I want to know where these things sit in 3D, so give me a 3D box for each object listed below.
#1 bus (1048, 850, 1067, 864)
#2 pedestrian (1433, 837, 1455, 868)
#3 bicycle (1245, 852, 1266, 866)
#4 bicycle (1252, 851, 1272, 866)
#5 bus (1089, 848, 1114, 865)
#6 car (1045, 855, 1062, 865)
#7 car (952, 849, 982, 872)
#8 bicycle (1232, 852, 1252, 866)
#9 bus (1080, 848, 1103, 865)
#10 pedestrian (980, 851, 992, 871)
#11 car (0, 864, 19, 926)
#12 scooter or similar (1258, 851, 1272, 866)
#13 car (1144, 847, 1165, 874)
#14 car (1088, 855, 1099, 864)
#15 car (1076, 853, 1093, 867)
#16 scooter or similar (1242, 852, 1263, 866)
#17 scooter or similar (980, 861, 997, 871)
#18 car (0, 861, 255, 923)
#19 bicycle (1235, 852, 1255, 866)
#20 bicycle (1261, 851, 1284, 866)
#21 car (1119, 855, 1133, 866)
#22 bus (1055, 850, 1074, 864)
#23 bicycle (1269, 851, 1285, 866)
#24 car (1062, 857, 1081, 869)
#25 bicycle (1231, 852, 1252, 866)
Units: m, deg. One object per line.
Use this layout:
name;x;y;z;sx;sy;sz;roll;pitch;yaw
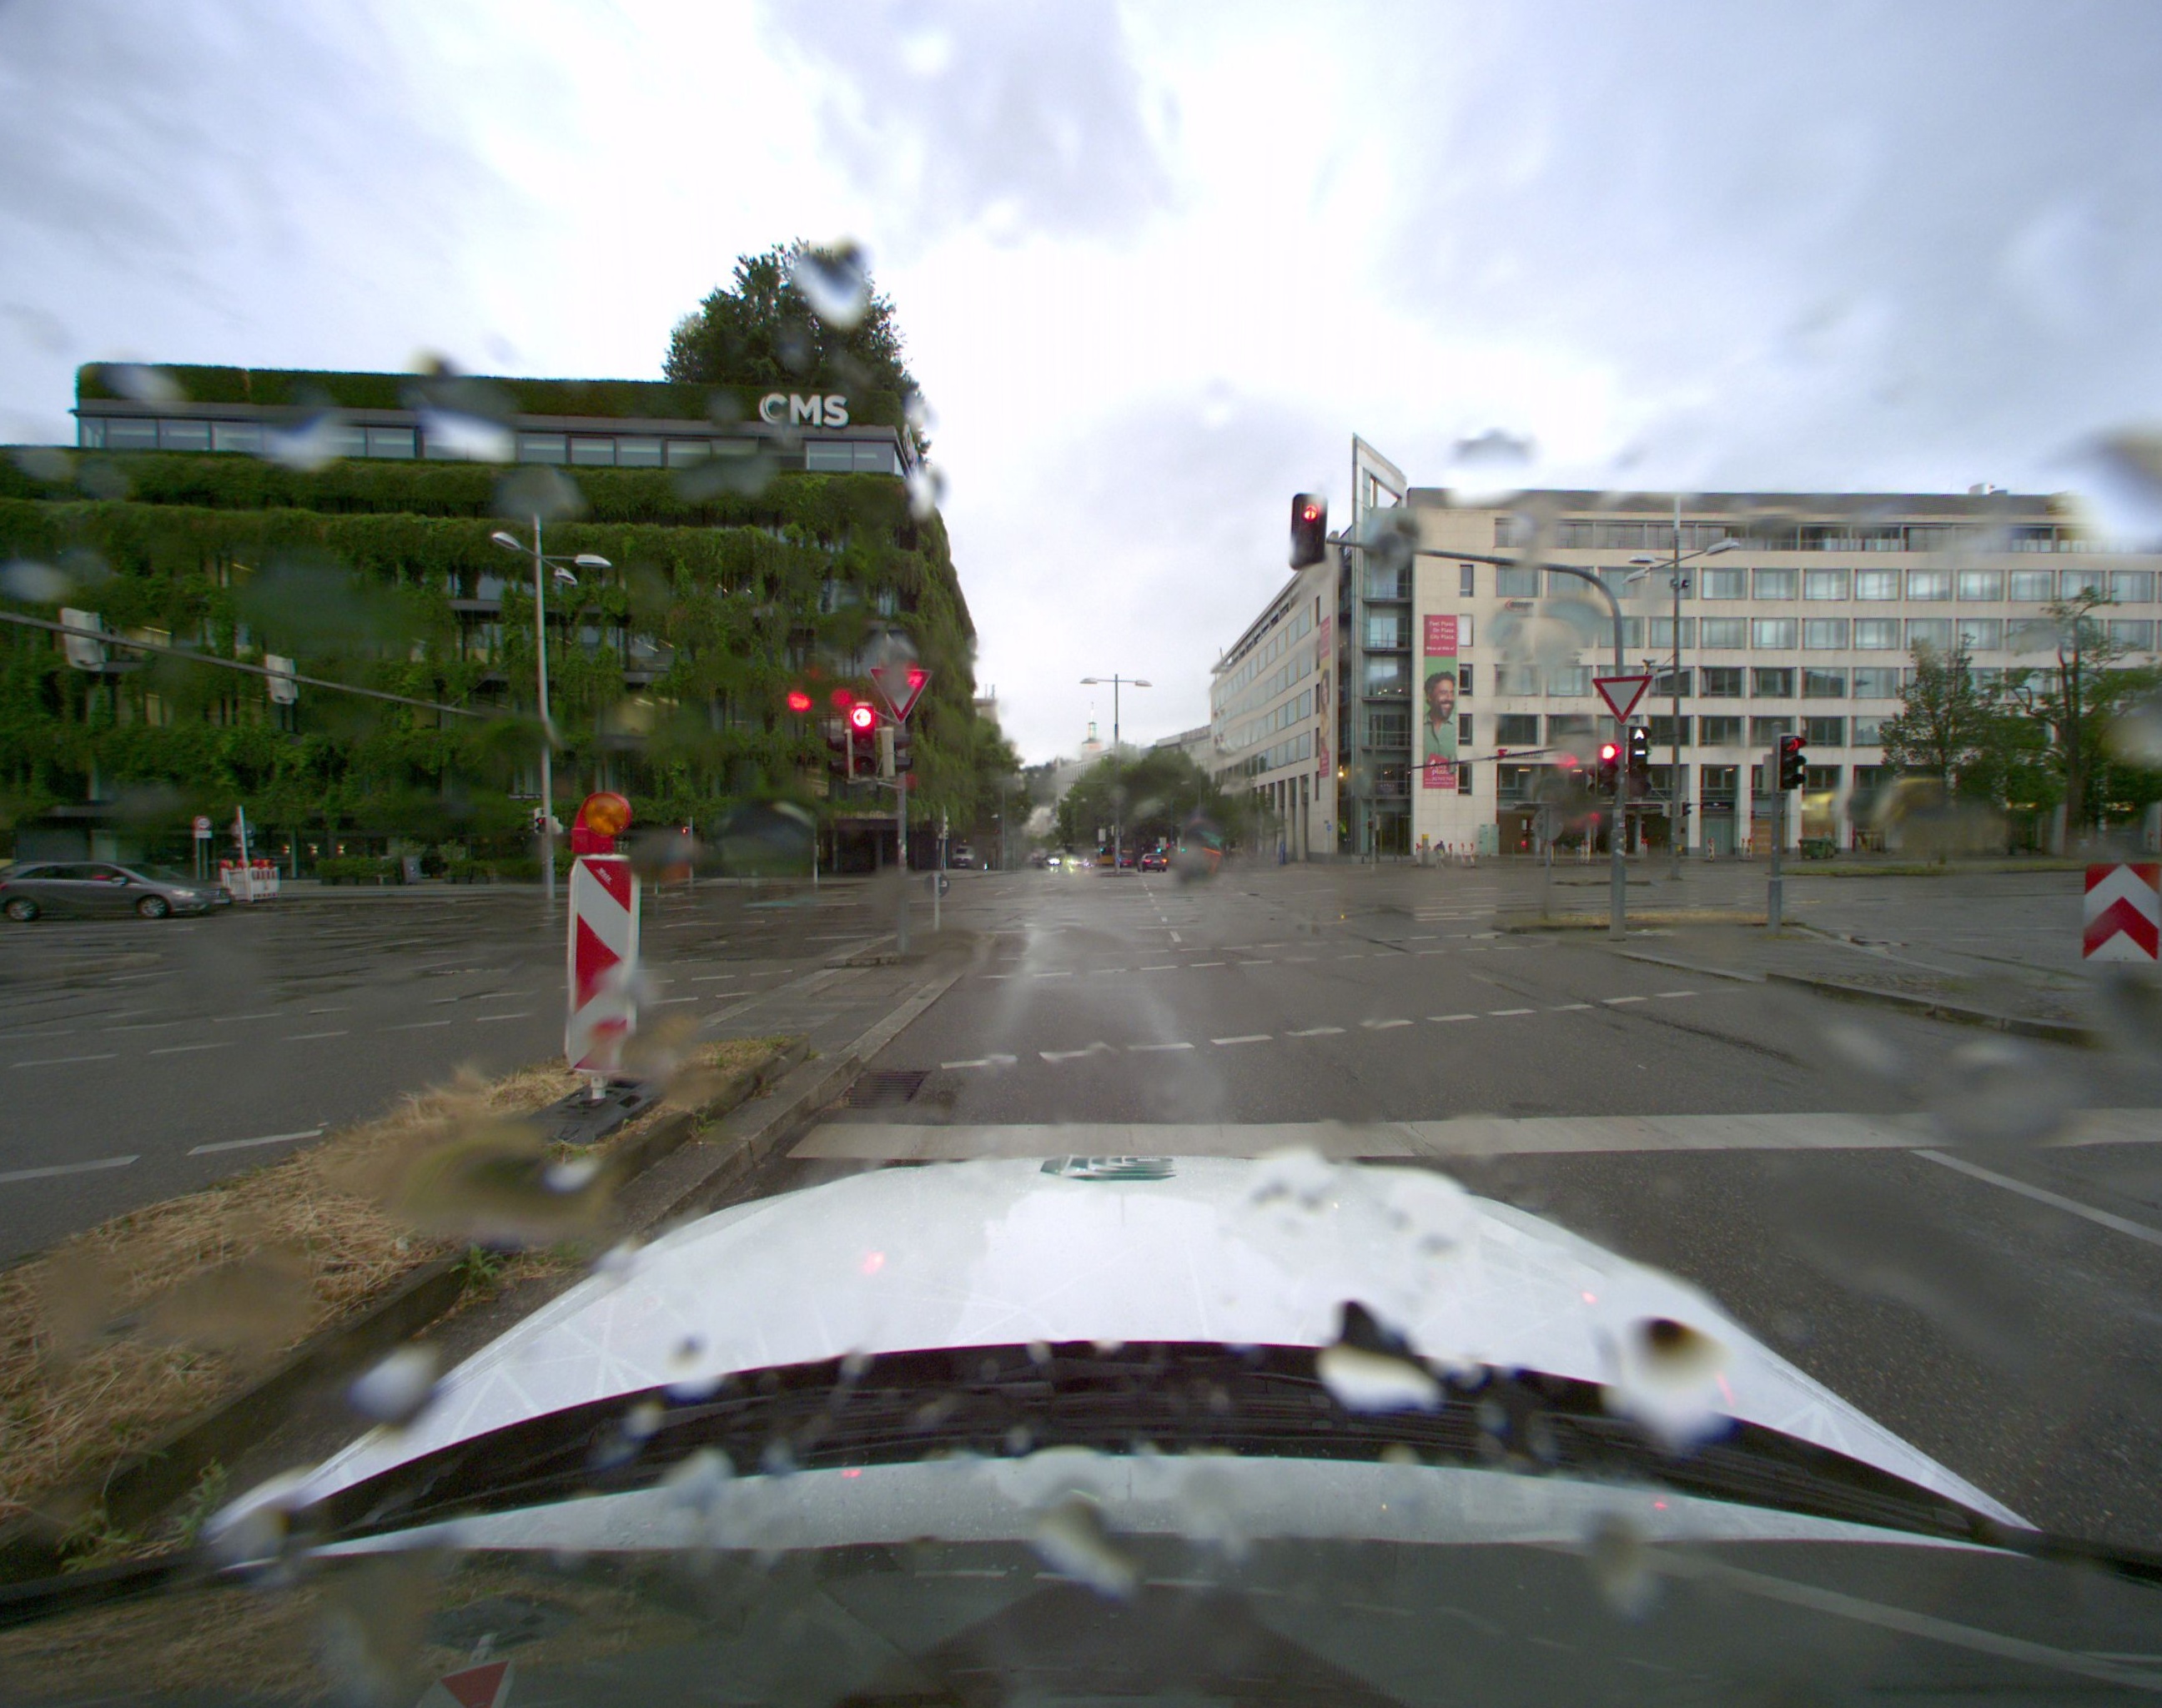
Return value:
bus;-5.239;0.602;180.717;2.631;2.995;7.415;-1;0;-13
pedestrian;21.962;-0.076;49.276;0.958;1.816;0.837;0;-1;1
bicycle;15.288;0.427;71.409;1.770;1.194;0.587;0;-1;3
bicycle;14.729;0.388;66.209;0.588;1.194;1.768;0;-1;-26
bus;3.680;0.420;146.088;2.631;2.995;7.415;-1;0;-13
car;-5.041;1.092;149.964;2.167;1.765;5.088;0;-1;-13
car;-9.558;0.568;68.733;1.863;1.839;4.001;0;-1;2
bicycle;14.472;0.448;73.233;1.770;1.194;0.587;0;-1;3
bus;1.988;0.439;153.281;2.631;2.995;7.415;-1;0;-13
pedestrian;-8.111;0.587;69.385;0.930;1.644;0.774;0;-1;1
car;-27.340;0.999;18.307;3.981;1.475;1.996;-1;0;-6
scooter or similar;14.421;0.372;63.979;0.951;1.194;0.458;-1;-1;42
car;5.754;0.507;64.237;1.537;2.014;4.673;0;-1;4
car;2.163;0.964;141.904;1.775;1.508;4.001;0;-1;2
car;0.425;0.794;105.813;2.158;1.765;5.109;0;-1;-1
scooter or similar;14.909;0.424;70.795;1.770;1.194;0.587;0;-1;3
scooter or similar;-9.427;1.184;82.947;0.616;1.004;1.671;-1;0;40
car;-26.123;0.981;22.064;4.901;1.488;1.924;-1;0;-15
bicycle;14.939;0.452;74.140;1.770;1.194;0.587;0;-1;3
bicycle;15.202;0.372;64.645;1.607;1.194;0.590;-1;-1;27
car;6.275;0.861;113.393;1.775;1.508;4.001;0;-1;2
bus;-3.543;0.643;173.573;2.631;2.995;7.294;-1;0;-13
bicycle;16.052;0.383;66.735;0.579;1.194;1.794;-1;-1;40
car;-1.515;1.344;121.992;2.163;1.765;4.816;-2;0;-9
bicycle;14.297;0.444;72.603;1.770;1.194;0.587;0;-1;3
